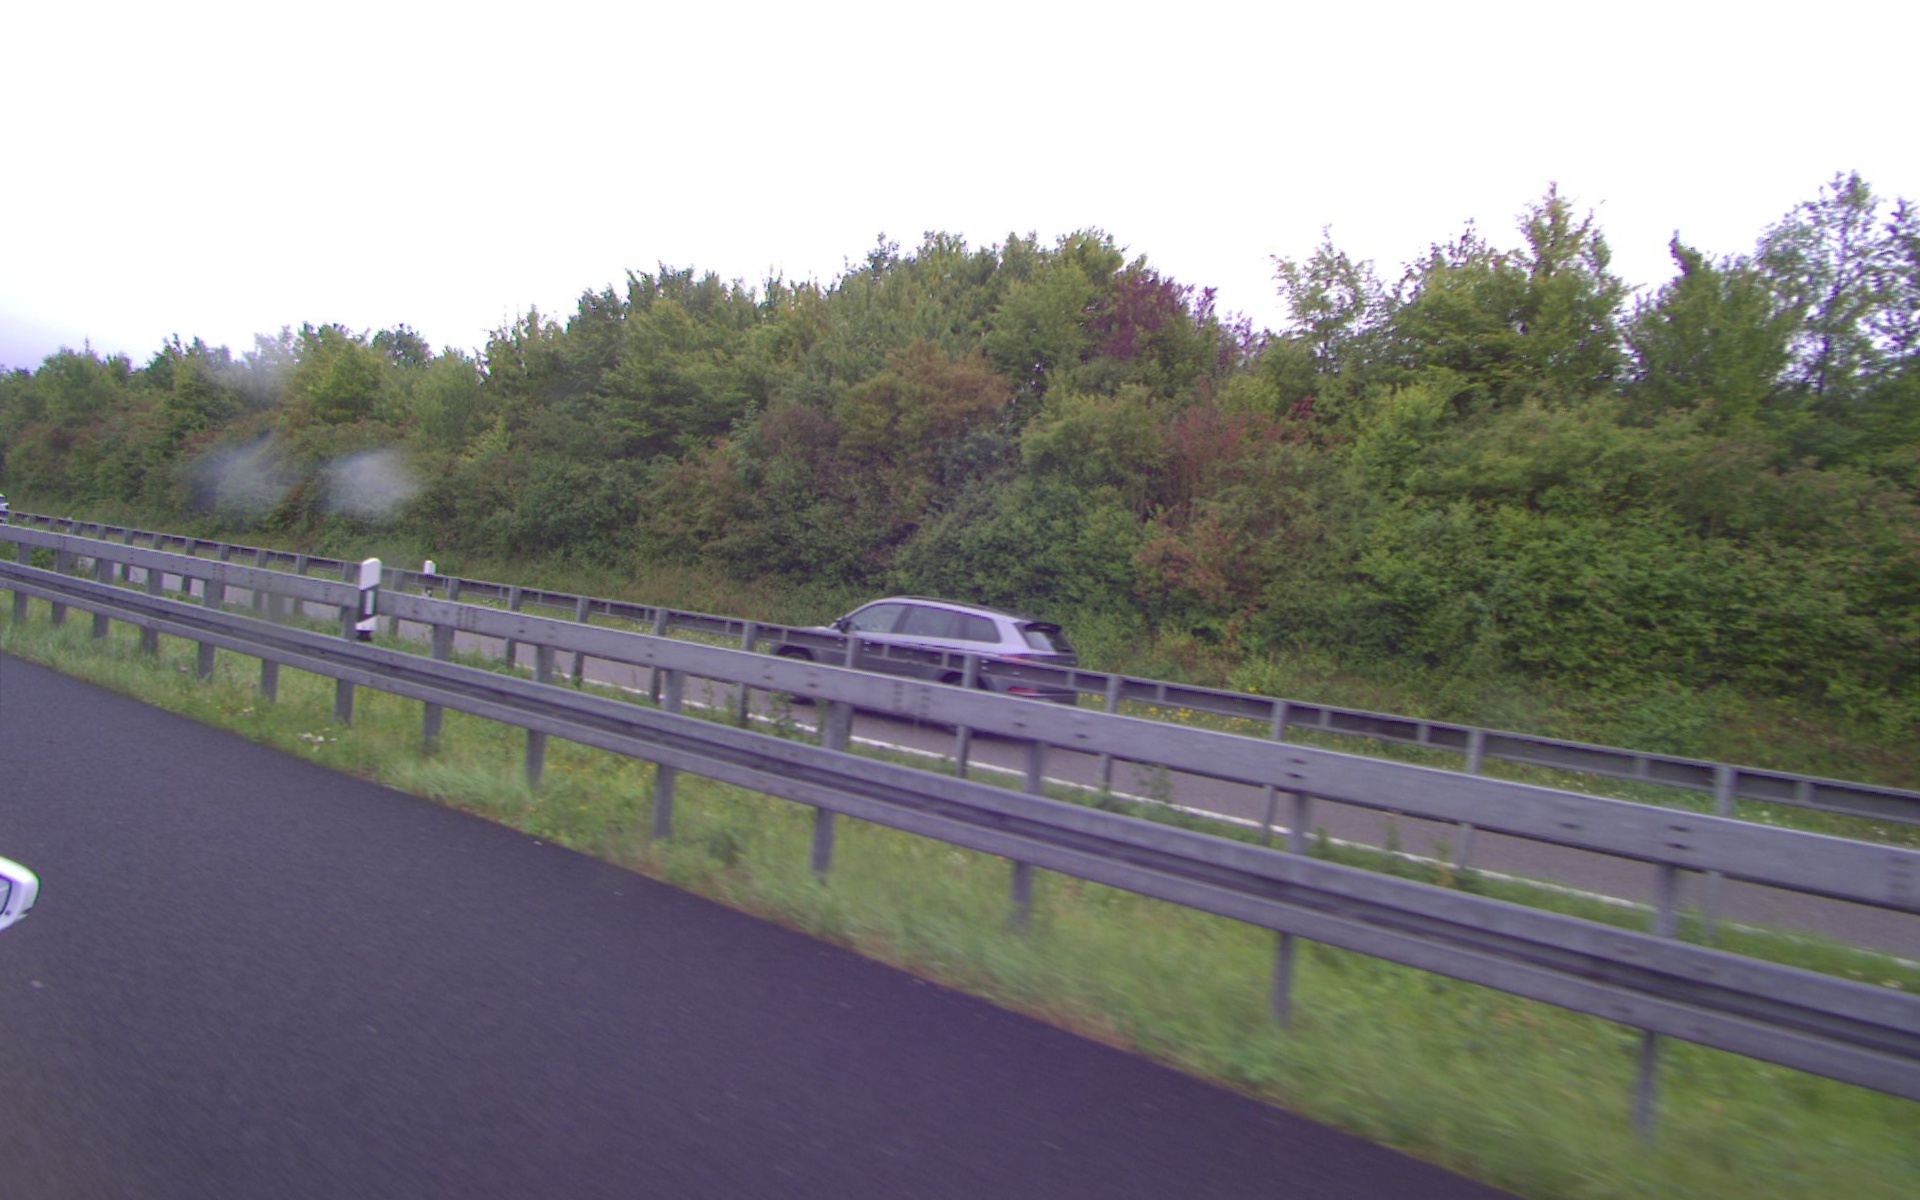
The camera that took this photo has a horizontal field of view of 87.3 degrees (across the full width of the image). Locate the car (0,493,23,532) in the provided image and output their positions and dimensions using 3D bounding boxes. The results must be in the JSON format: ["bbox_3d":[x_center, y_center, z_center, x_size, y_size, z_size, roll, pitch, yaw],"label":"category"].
[{"bbox_3d":[-44.732,-4.177,45.821,4.077,1.632,1.899,7,-1,32],"label":"car"}]

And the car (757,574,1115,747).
[{"bbox_3d":[-0.382,0.768,13.872,4.397,1.675,2.011,7,-1,31],"label":"car"}]
